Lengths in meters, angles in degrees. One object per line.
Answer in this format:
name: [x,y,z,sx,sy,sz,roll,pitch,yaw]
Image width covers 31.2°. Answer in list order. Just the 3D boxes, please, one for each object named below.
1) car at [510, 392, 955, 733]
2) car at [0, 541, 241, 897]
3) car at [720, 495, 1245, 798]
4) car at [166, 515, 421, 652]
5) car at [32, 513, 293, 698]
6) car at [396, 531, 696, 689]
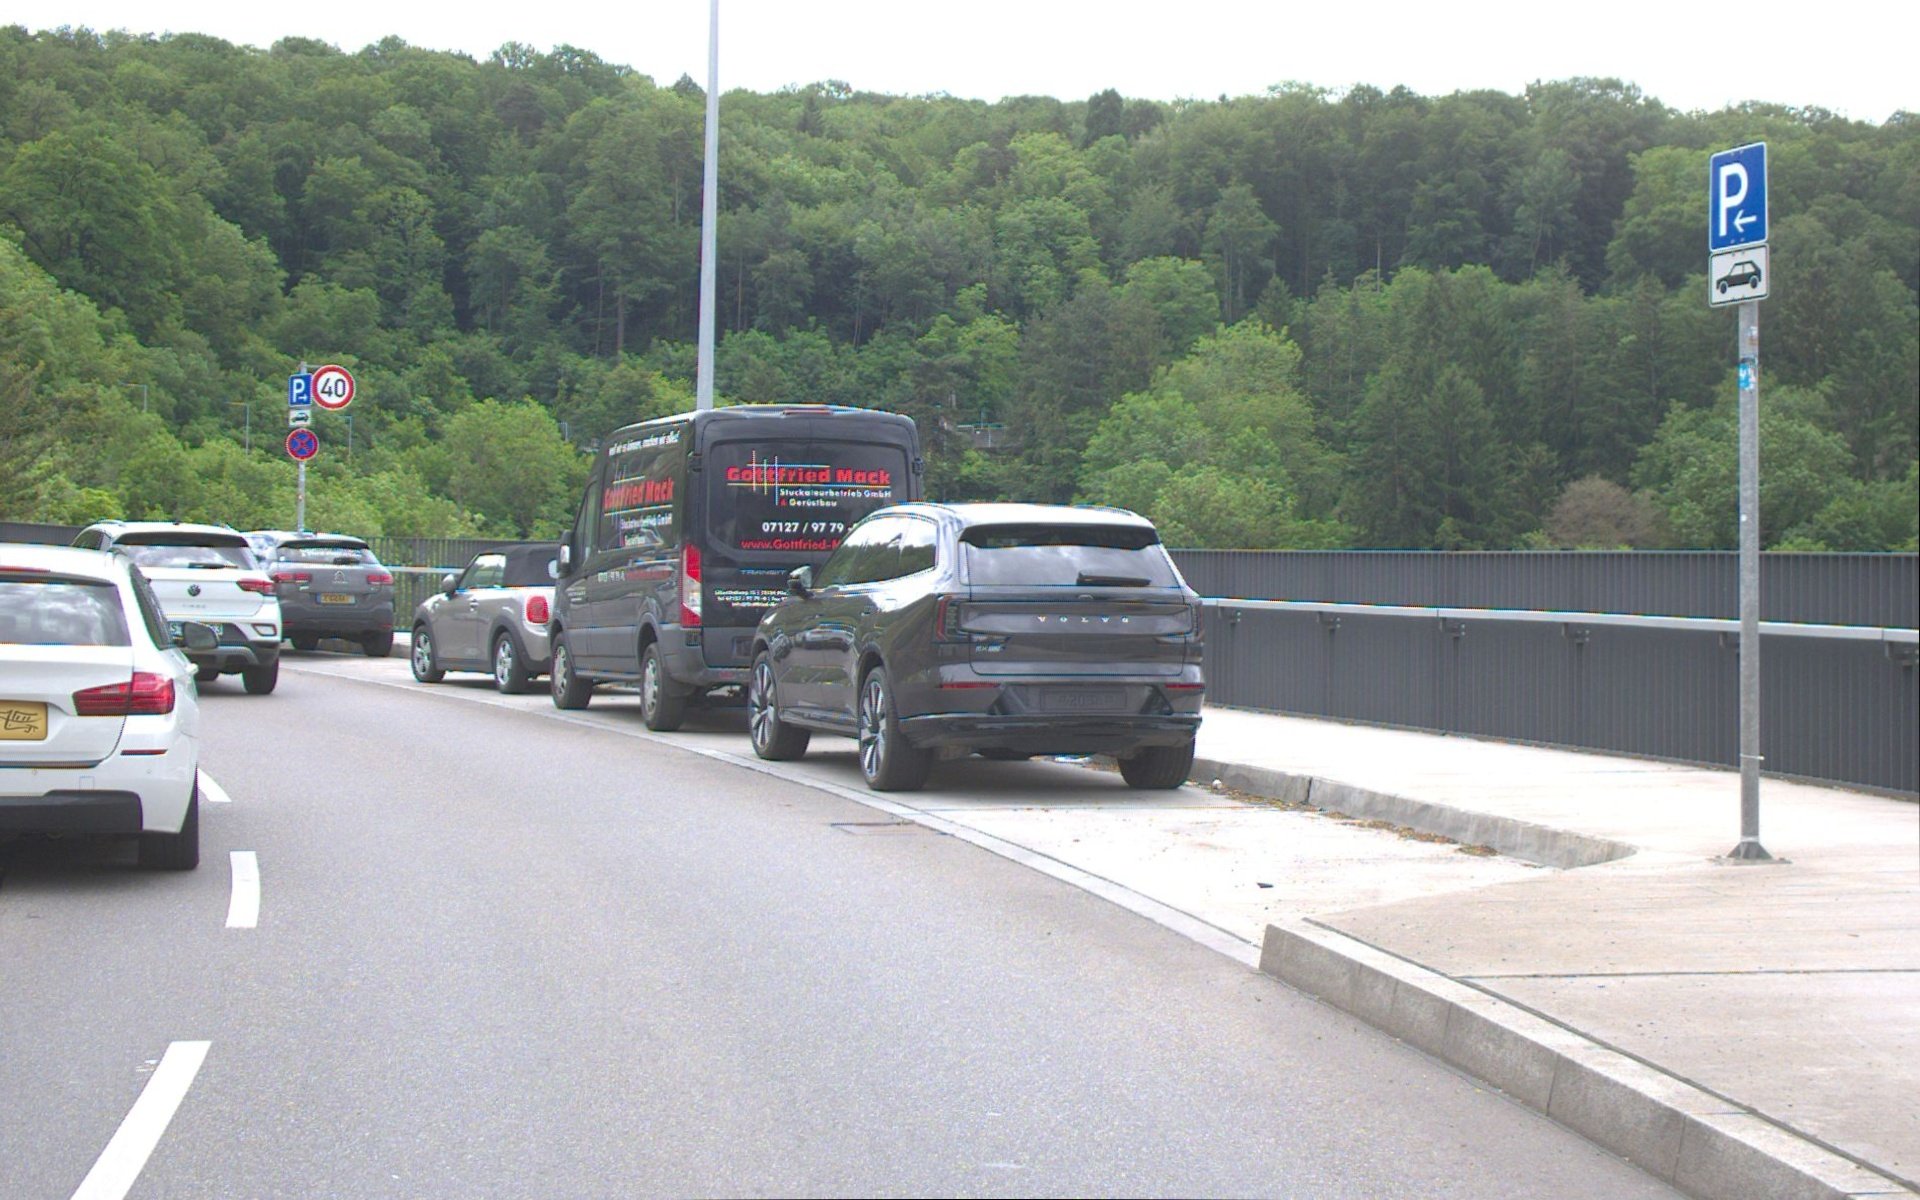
car: [-2.037,-0.377,28.545,2.166,2.513,5.773,-2,2,-19]
car: [-4.471,0.451,16.325,1.827,1.454,4.487,0,1,-9]
car: [-0.017,0.229,22.197,1.993,1.712,5.051,-1,1,-17]
car: [-8.290,-0.226,42.503,1.874,1.537,4.090,2,1,-29]
car: [-7.568,0.038,32.382,1.827,1.600,4.001,-1,1,-21]
car: [-4.150,0.070,33.996,1.714,1.426,3.851,1,1,-27]
